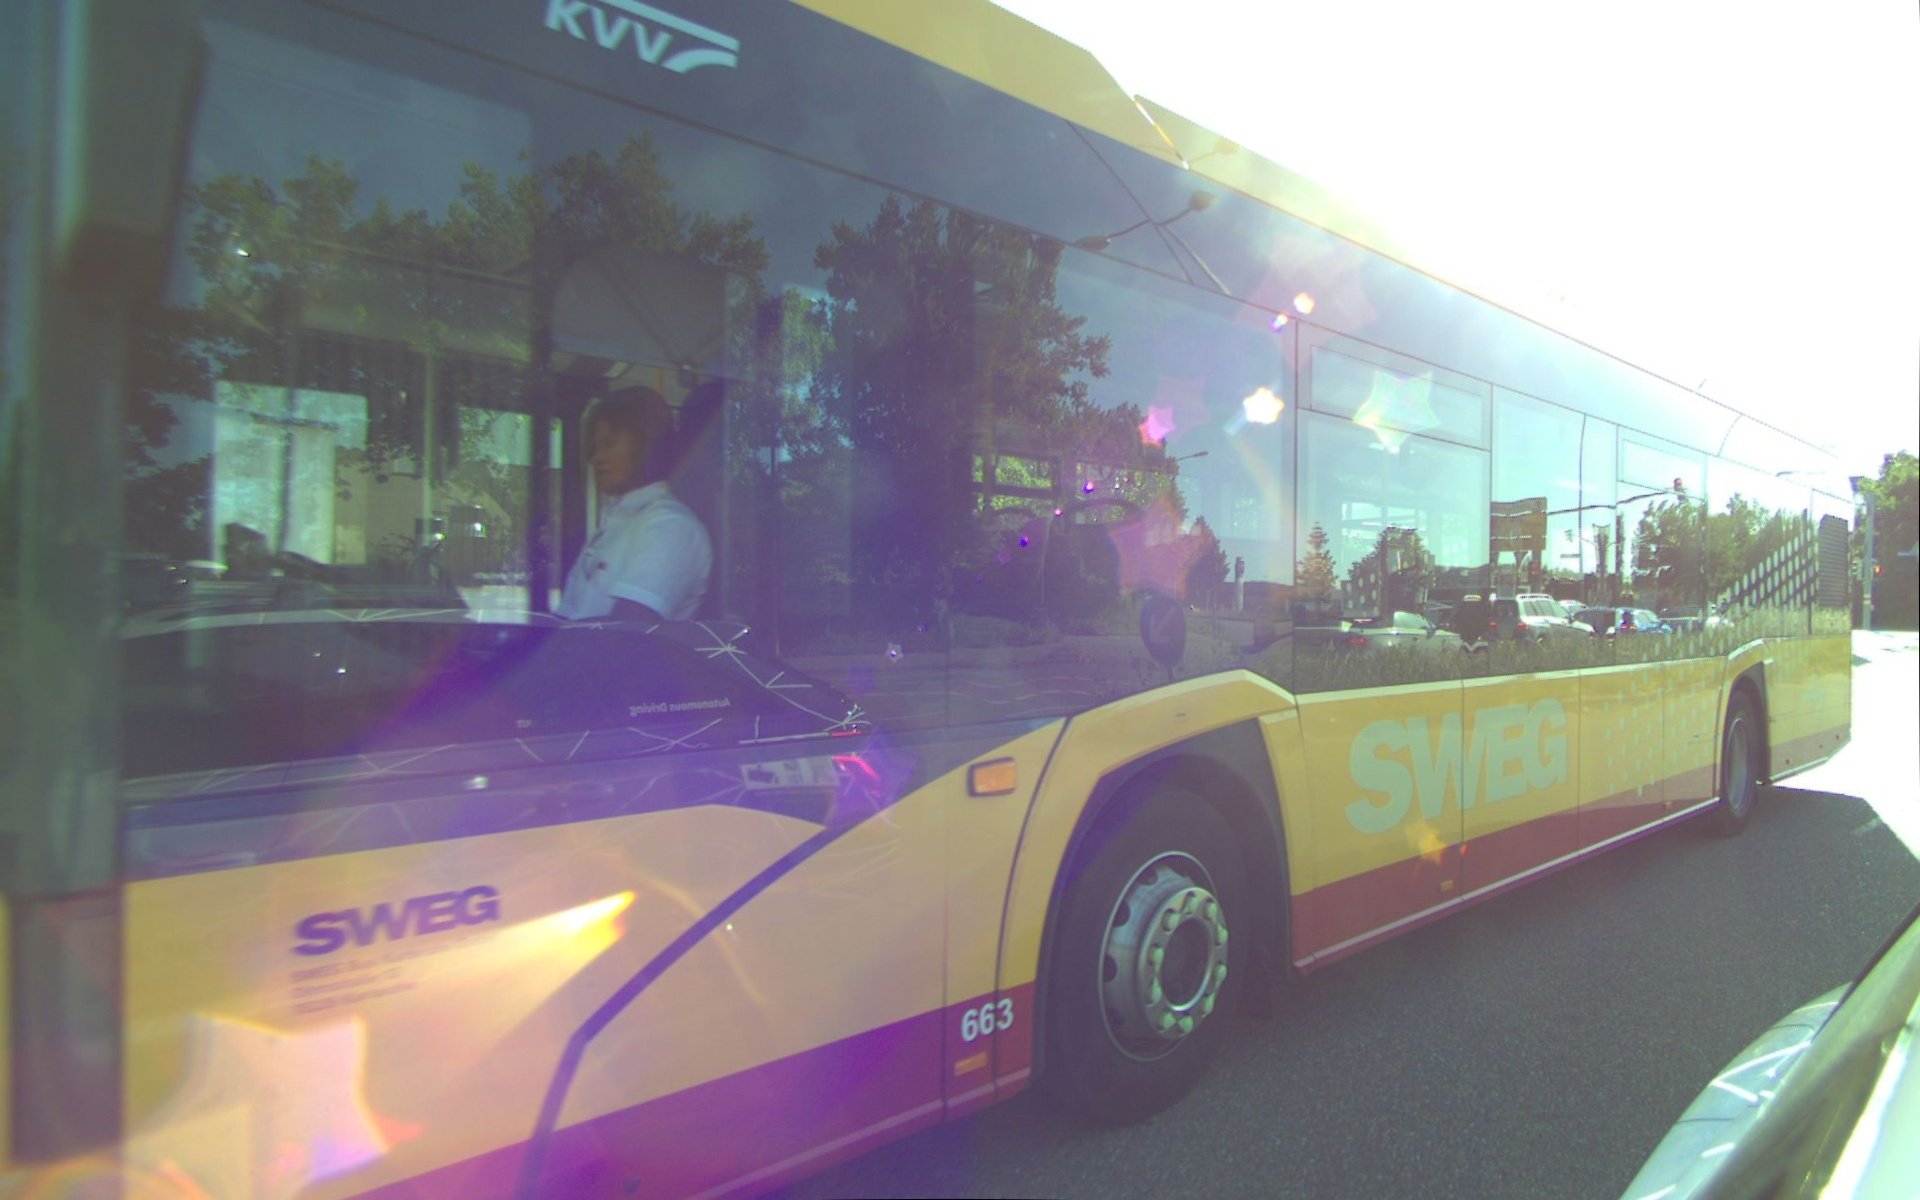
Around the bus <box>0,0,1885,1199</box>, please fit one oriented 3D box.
[{"bbox_3d":[2.257,-0.487,5.816,12.176,3.501,2.764,-1,2,-40],"label":"bus"}]
